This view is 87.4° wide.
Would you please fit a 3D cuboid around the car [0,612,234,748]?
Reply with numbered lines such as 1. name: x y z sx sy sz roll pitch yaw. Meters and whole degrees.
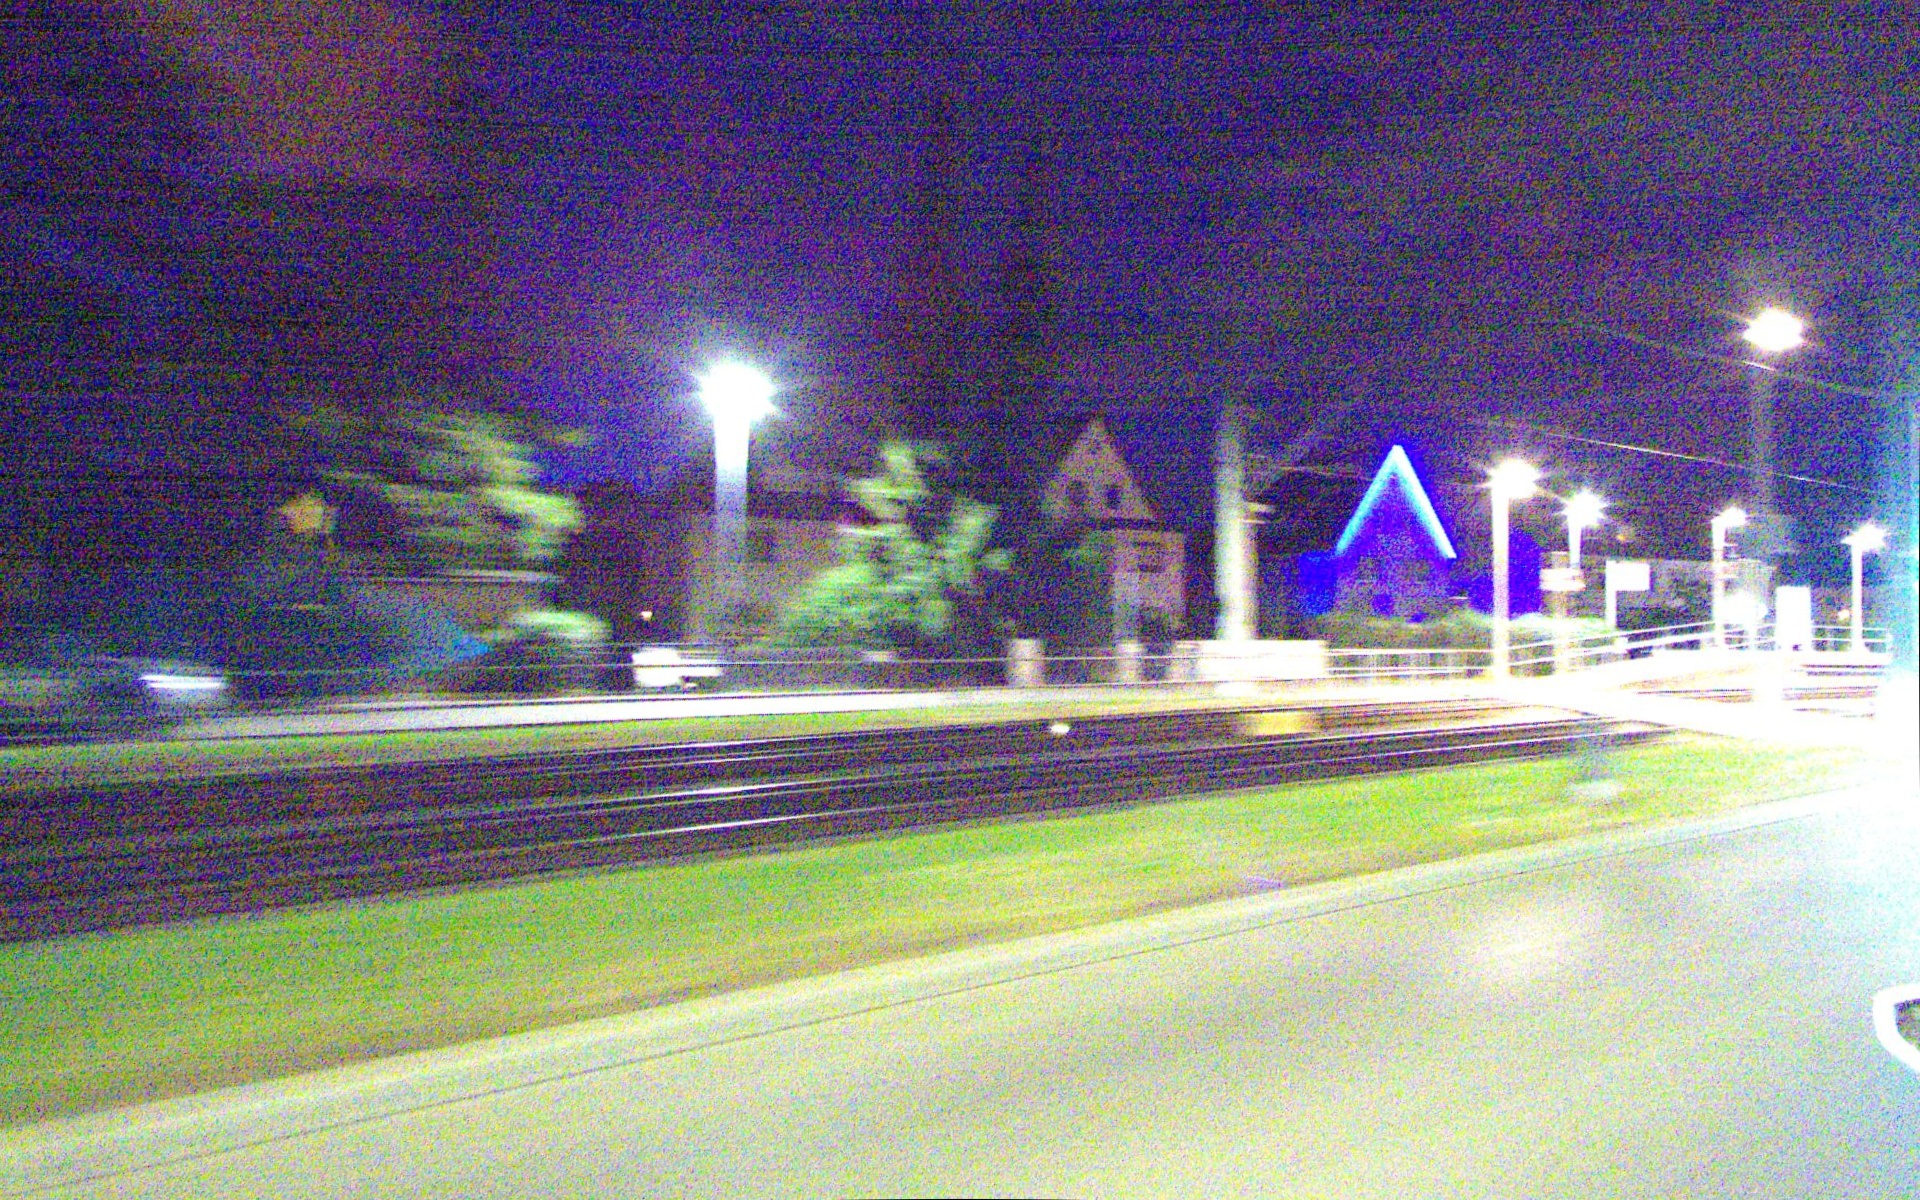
1. car: -11.262 0.916 11.970 4.050 1.524 1.855 2 -2 -32
